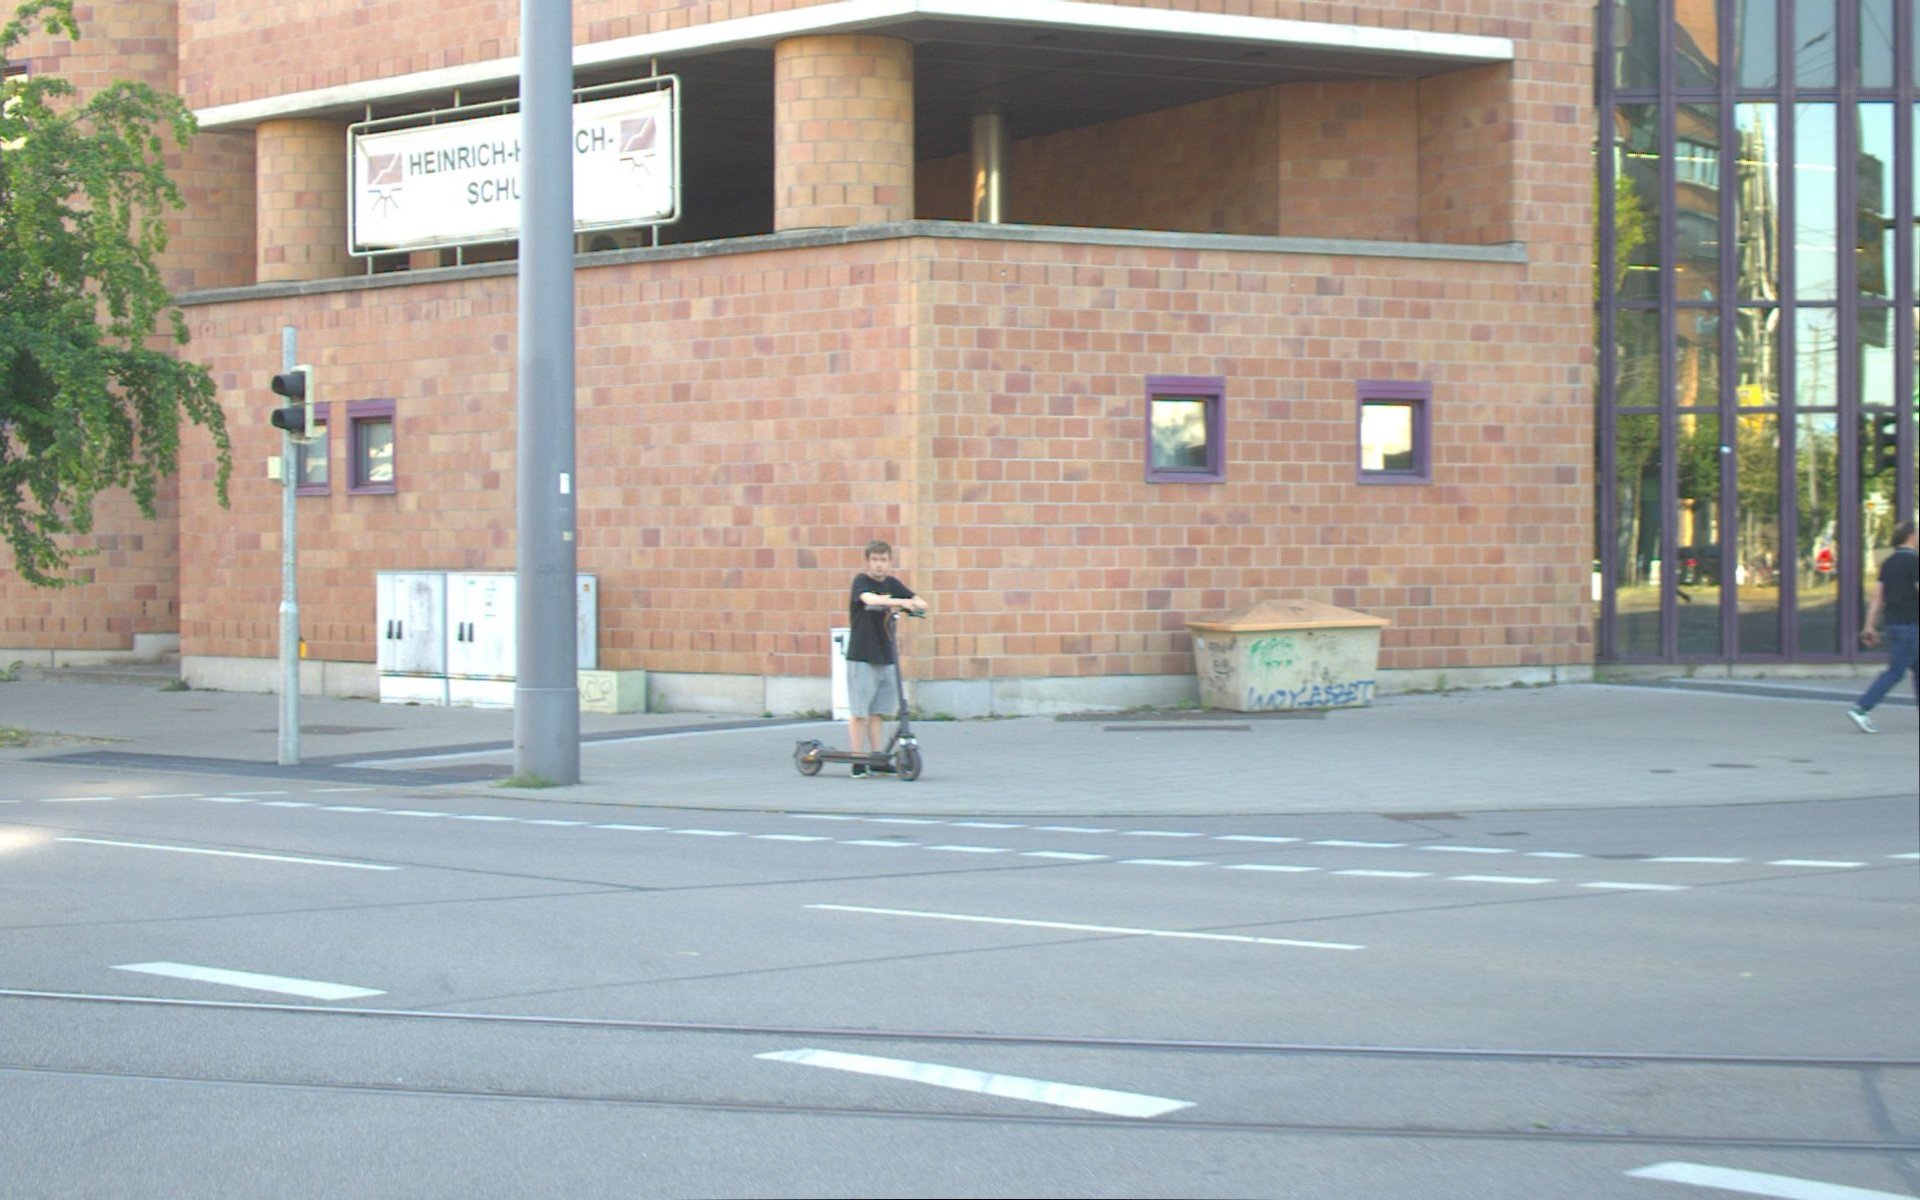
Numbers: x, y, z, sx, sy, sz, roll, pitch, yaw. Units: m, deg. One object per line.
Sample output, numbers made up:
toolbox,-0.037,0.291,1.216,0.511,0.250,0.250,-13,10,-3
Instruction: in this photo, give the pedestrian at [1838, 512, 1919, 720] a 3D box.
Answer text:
pedestrian,7.803,0.126,28.631,0.821,1.710,0.664,0,1,1

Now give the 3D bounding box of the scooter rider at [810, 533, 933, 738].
scooter rider,-0.640,0.244,24.844,0.721,1.456,0.506,0,1,41

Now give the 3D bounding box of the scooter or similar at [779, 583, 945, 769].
scooter or similar,-0.715,0.536,24.909,1.131,1.313,0.528,0,1,40
